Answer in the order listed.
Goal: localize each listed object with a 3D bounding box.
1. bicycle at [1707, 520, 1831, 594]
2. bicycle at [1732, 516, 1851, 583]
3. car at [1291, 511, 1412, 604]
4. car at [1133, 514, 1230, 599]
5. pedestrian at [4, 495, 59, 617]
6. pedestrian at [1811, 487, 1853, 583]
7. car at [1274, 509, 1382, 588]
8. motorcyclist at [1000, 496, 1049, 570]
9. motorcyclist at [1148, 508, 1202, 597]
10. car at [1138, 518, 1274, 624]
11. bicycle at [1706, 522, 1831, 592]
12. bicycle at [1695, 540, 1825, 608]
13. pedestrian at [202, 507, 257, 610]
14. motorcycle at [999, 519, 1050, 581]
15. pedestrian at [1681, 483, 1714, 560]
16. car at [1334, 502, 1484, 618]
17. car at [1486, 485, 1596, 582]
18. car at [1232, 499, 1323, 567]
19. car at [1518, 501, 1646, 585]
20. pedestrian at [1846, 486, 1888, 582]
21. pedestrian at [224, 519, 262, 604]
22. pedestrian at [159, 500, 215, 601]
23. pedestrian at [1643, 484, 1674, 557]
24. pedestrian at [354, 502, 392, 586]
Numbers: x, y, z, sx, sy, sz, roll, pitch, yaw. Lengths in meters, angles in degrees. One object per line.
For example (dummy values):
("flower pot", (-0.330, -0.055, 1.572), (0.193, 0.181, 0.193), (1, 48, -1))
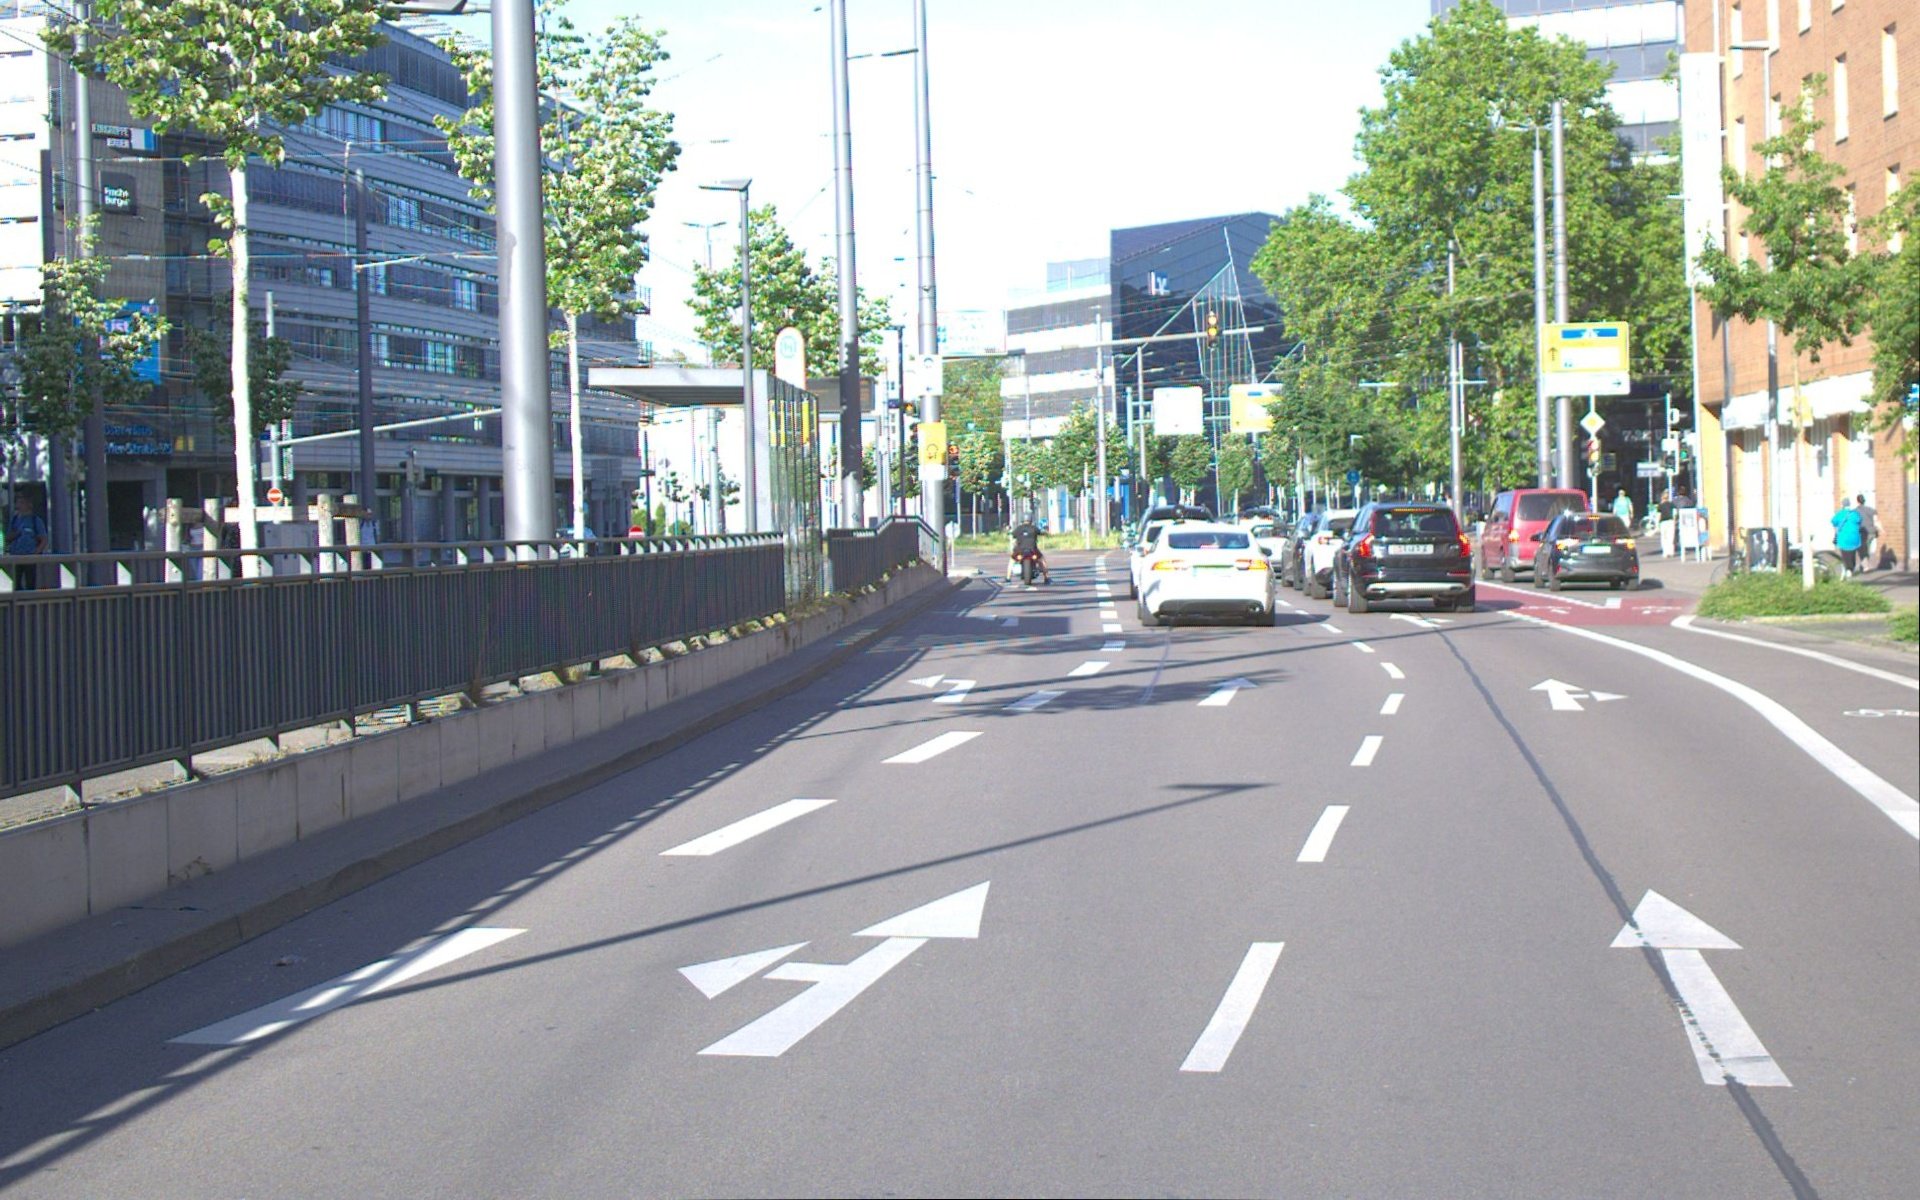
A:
("bicycle", (13.363, -0.712, 56.826), (1.946, 1.133, 0.490), (-2, 1, 13))
("bicycle", (14.306, -0.864, 59.165), (1.946, 1.071, 0.625), (-2, 1, 14))
("car", (7.100, -0.788, 62.676), (1.851, 1.634, 4.379), (0, 1, 2))
("car", (4.063, -0.838, 63.645), (1.693, 1.491, 4.409), (1, 2, 3))
("pedestrian", (-13.374, -0.638, 49.508), (0.582, 1.732, 0.616), (0, 1, 3))
("pedestrian", (16.701, -1.251, 65.867), (0.606, 1.815, 0.748), (-1, 1, 2))
("car", (7.428, -1.065, 69.678), (1.851, 1.492, 4.379), (-1, 2, 2))
("motorcyclist", (1.423, -1.478, 75.324), (1.019, 1.598, 1.148), (1, 2, 3))
("motorcyclist", (3.636, -0.819, 58.236), (0.837, 1.470, 1.236), (-1, 2, 1))
("car", (3.503, -0.455, 49.598), (1.780, 1.409, 4.818), (1, 2, 2))
("bicycle", (13.237, -0.709, 56.312), (1.946, 1.071, 0.554), (-2, 1, 13))
("bicycle", (12.819, -0.420, 55.110), (1.947, 1.019, 0.501), (-2, 1, 20))
("pedestrian", (-11.774, -0.677, 55.409), (0.640, 1.637, 0.945), (1, 2, 3))
("motorcycle", (1.423, -1.110, 75.281), (1.019, 1.307, 2.914), (1, 2, 3))
("pedestrian", (17.465, -1.861, 81.385), (0.606, 1.815, 0.748), (-1, 1, 2))
("car", (7.132, -0.686, 55.025), (1.975, 1.753, 4.632), (1, 2, 3))
("car", (12.363, -1.436, 73.369), (1.860, 1.954, 4.000), (-1, 2, 4))
("car", (7.329, -1.582, 79.719), (1.851, 1.492, 4.379), (-1, 2, 2))
("car", (12.085, -1.133, 67.035), (1.847, 1.555, 4.632), (1, 2, 3))
("pedestrian", (17.532, -1.275, 66.448), (0.606, 1.815, 0.748), (-1, 1, 2))
("pedestrian", (-13.678, -0.744, 65.612), (0.563, 1.603, 0.616), (0, 1, 3))
("pedestrian", (-12.456, -0.801, 55.421), (0.640, 1.602, 0.945), (1, 2, 3))
("pedestrian", (17.651, -2.011, 86.901), (0.606, 1.815, 0.748), (-1, 1, 2))
("pedestrian", (-12.766, -1.227, 74.805), (0.614, 1.811, 0.897), (0, 1, 3))
